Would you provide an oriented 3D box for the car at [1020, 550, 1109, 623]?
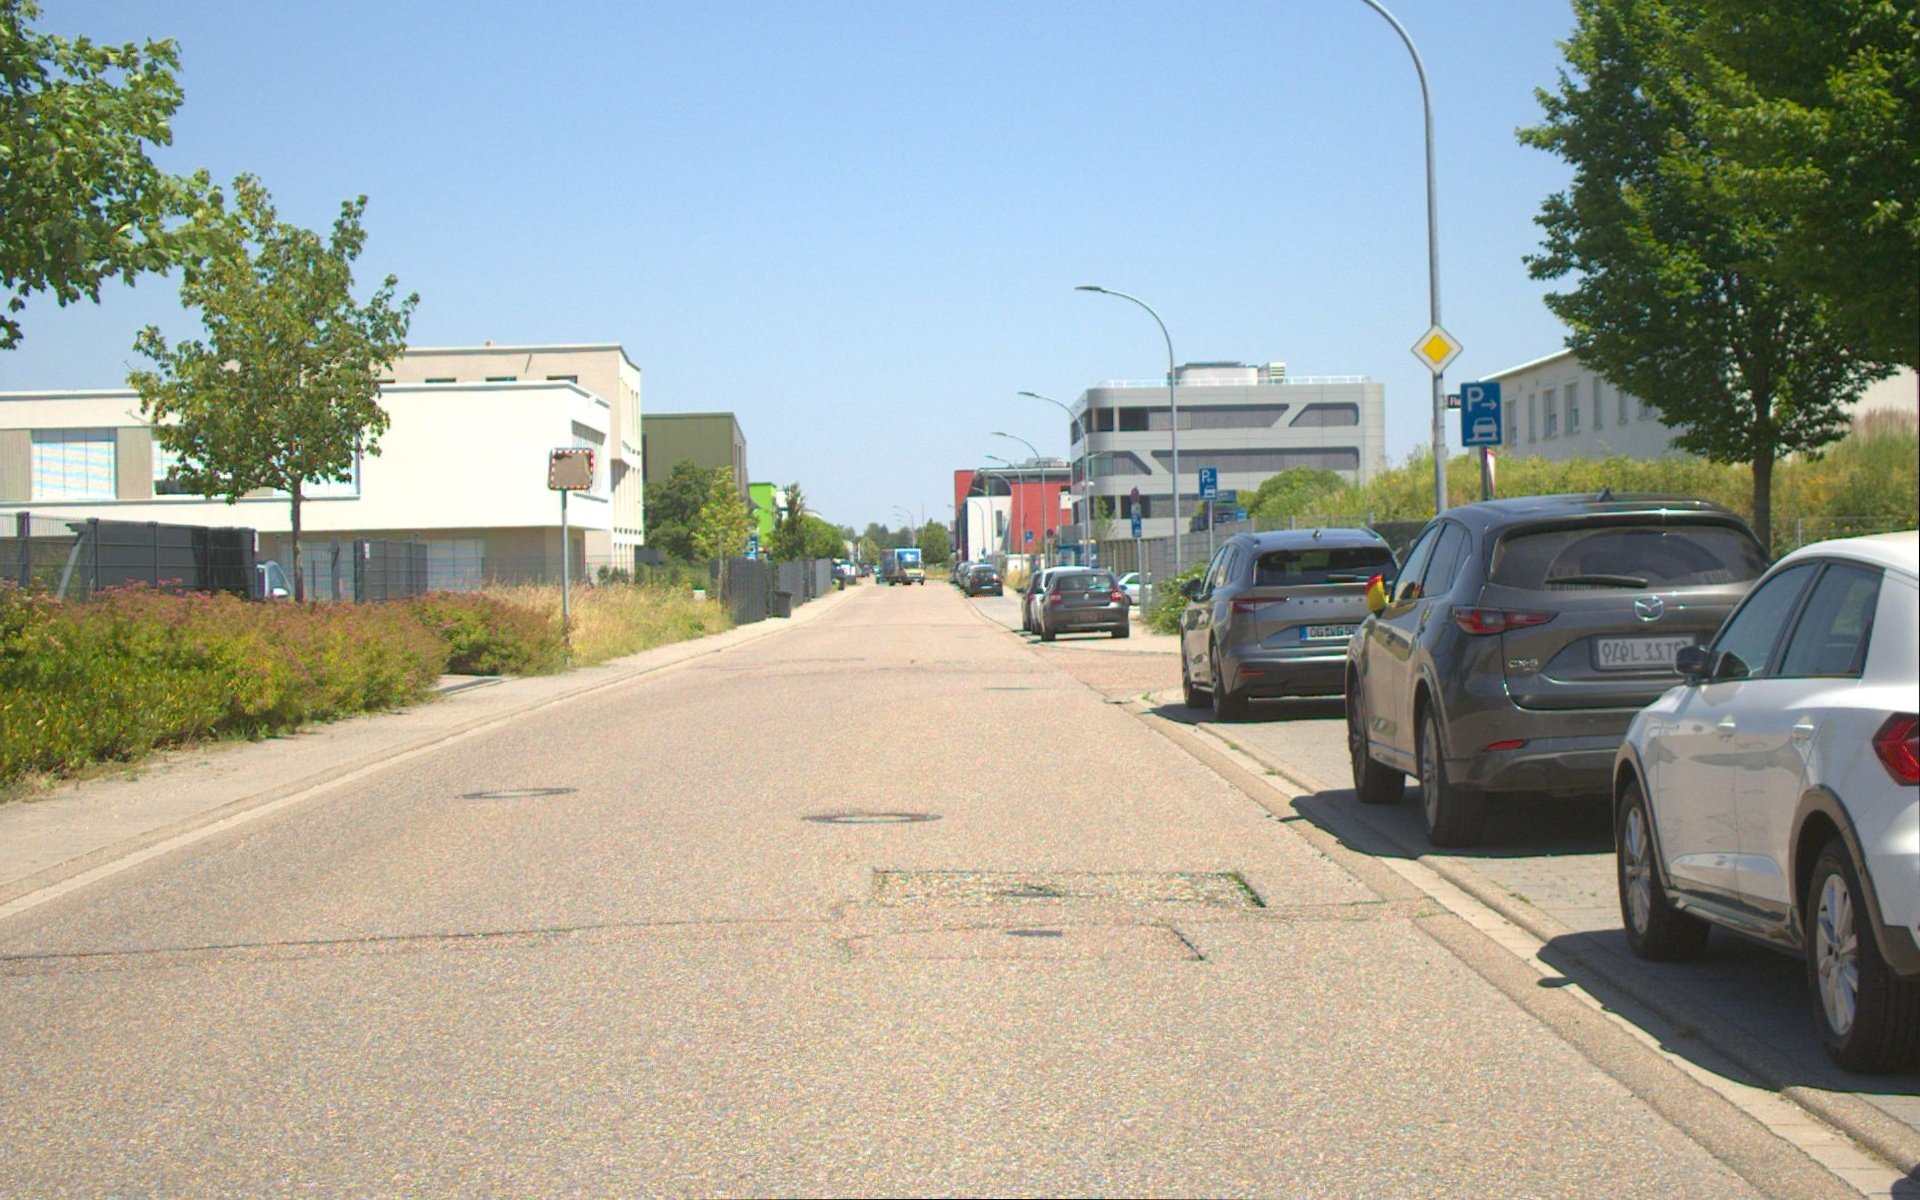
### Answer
[{"bbox_3d":[2.413,-0.332,78.898,1.908,1.541,4.000,-3,1,2],"label":"car"}]

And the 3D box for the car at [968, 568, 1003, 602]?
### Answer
[{"bbox_3d":[1.346,-0.794,180.730,1.776,1.722,4.000,1,1,0],"label":"car"}]

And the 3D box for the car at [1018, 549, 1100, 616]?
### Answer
[{"bbox_3d":[2.476,-0.450,85.215,1.908,1.541,4.000,-3,1,2],"label":"car"}]

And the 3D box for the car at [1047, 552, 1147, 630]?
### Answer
[{"bbox_3d":[2.788,-0.203,69.975,1.908,1.443,4.000,-3,1,2],"label":"car"}]

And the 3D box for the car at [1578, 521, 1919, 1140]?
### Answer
[{"bbox_3d":[3.152,0.510,10.509,1.716,1.476,4.031,-3,1,0],"label":"car"}]

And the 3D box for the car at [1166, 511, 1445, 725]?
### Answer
[{"bbox_3d":[2.984,0.104,30.604,1.803,1.656,4.608,-3,1,-1],"label":"car"}]

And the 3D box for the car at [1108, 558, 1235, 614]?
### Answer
[{"bbox_3d":[7.804,-0.532,127.348,4.625,2.007,2.606,1,1,3],"label":"car"}]

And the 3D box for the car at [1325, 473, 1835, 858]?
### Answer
[{"bbox_3d":[3.022,0.253,17.647,1.757,1.657,4.363,-3,1,0],"label":"car"}]

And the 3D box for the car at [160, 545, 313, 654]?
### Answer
[{"bbox_3d":[-10.529,-0.026,50.198,1.700,1.515,2.998,-1,1,-3],"label":"car"}]
